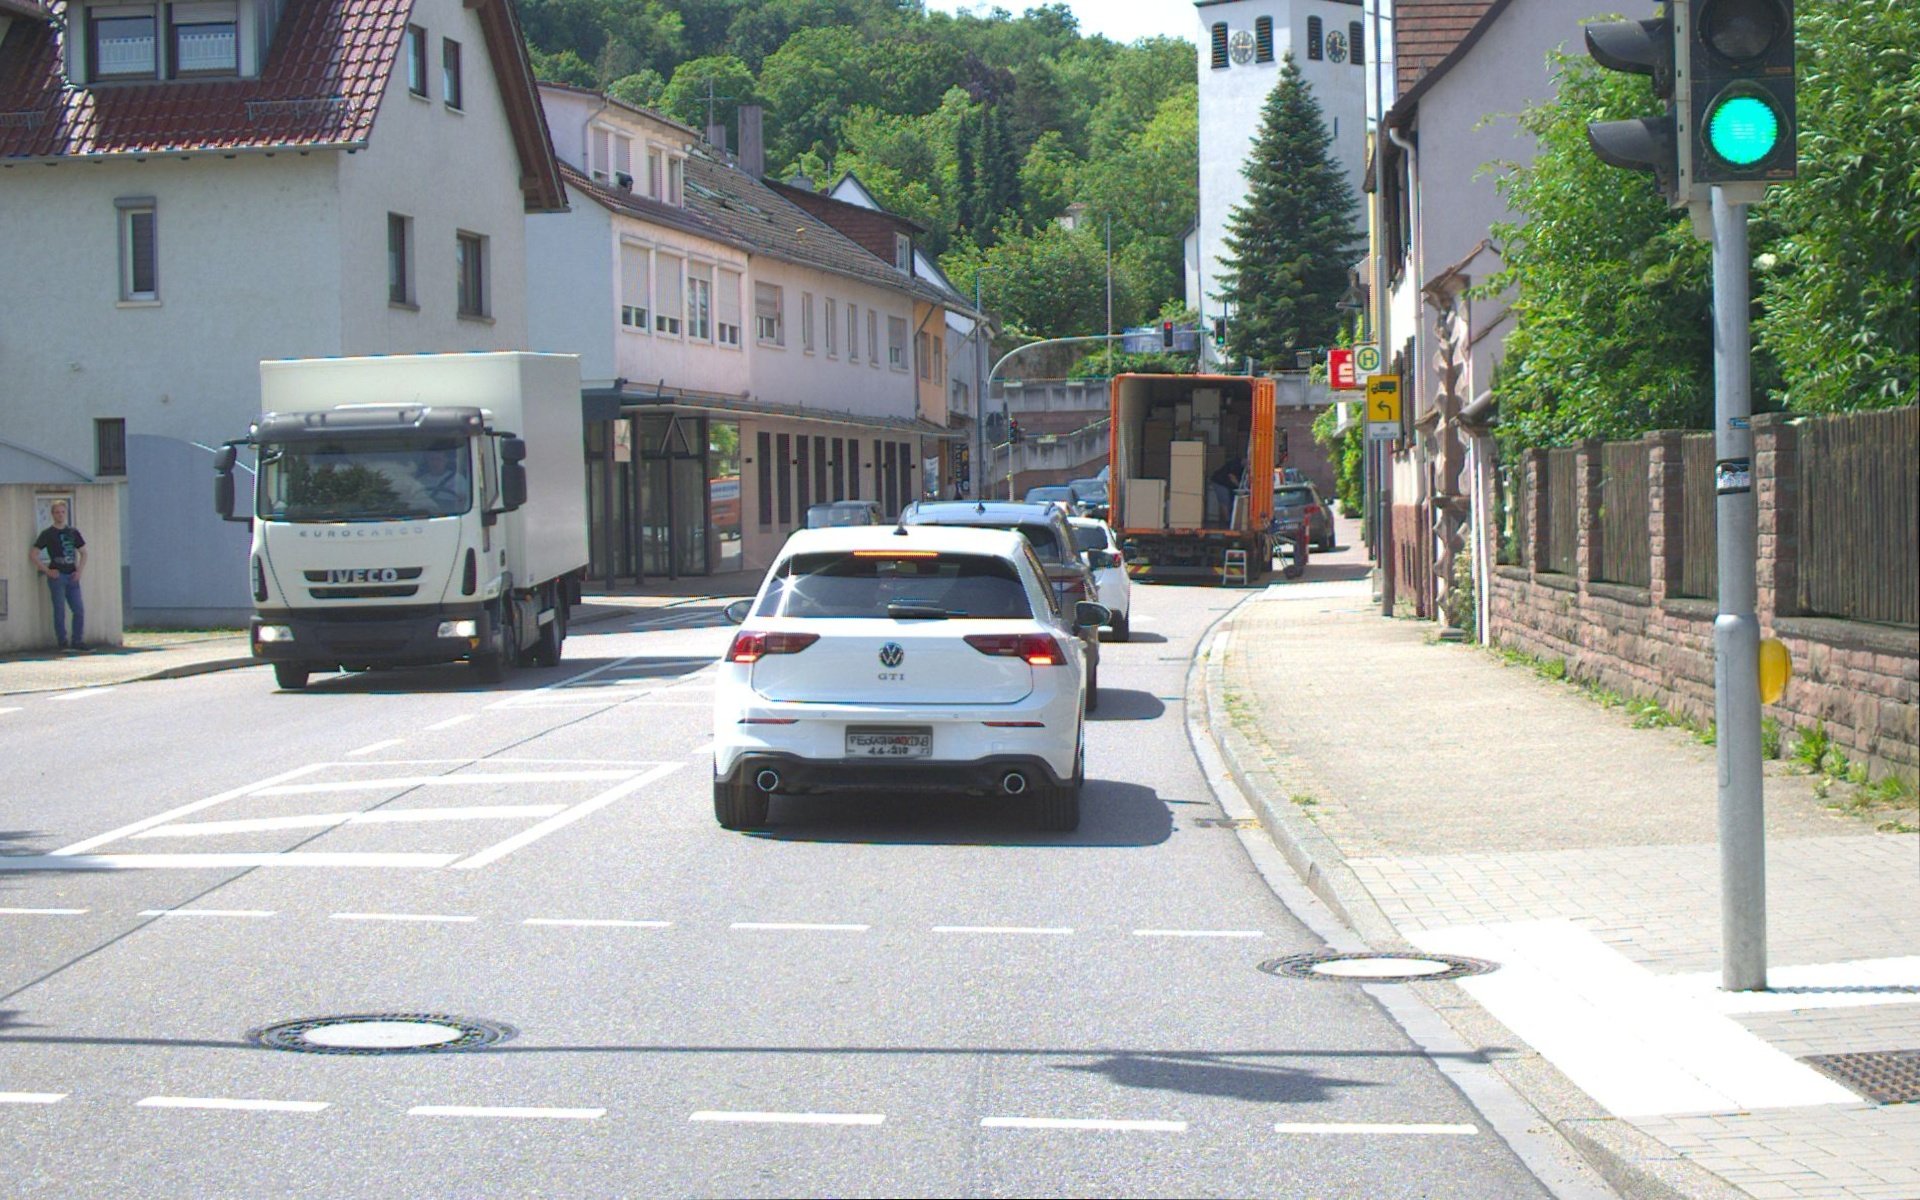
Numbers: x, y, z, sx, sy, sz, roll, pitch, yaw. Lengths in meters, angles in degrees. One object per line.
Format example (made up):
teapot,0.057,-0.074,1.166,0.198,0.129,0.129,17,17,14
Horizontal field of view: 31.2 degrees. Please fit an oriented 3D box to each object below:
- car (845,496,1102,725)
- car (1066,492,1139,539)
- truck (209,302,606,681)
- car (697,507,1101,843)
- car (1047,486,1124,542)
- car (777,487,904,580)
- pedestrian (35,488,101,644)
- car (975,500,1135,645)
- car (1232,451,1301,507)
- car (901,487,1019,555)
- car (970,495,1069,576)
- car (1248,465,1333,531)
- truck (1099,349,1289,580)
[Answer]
car,0.180,0.042,27.256,1.815,1.623,4.000,-2,1,3
car,4.619,-2.725,111.046,1.863,1.437,4.216,-2,1,9
truck,-5.146,-1.001,33.083,2.502,3.224,6.040,-2,1,2
car,-0.200,0.301,17.618,1.815,1.514,4.000,0,1,3
car,3.578,-2.423,97.171,1.796,1.503,4.133,-2,1,7
car,-2.172,-1.255,63.472,1.739,1.645,3.668,-1,2,7
pedestrian,-10.181,-0.393,39.236,0.434,1.758,0.556,-1,2,22
car,1.200,-0.357,42.051,1.815,1.623,4.000,-2,1,3
car,8.940,-3.509,100.510,1.815,1.514,4.000,-2,1,3
car,0.027,-1.803,78.243,1.864,1.437,4.215,-2,1,11
car,1.213,-1.280,68.274,1.815,1.514,4.000,-2,1,3
car,7.989,-2.456,83.366,1.815,1.514,4.000,-2,1,3
truck,4.739,-2.597,68.383,3.367,4.155,9.518,-2,1,5
